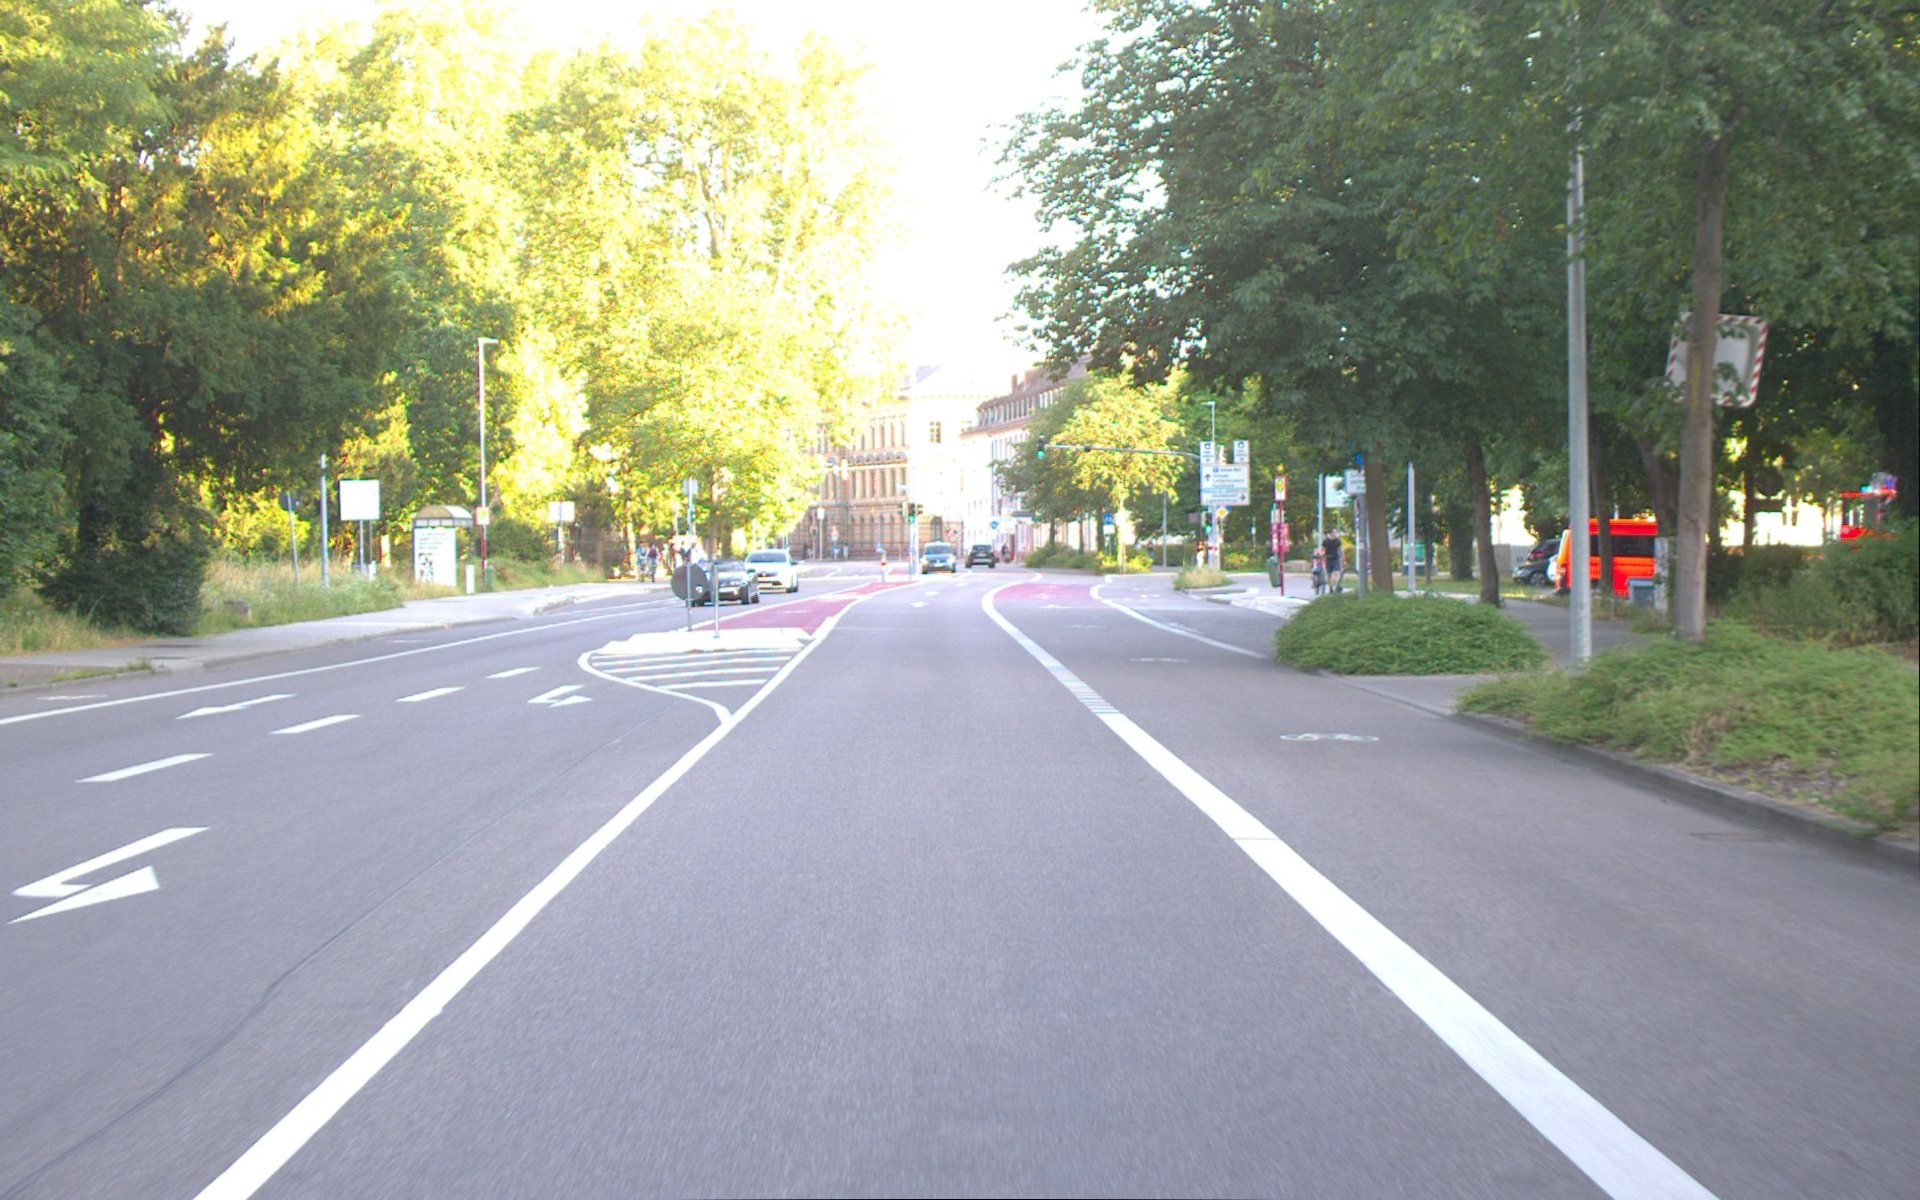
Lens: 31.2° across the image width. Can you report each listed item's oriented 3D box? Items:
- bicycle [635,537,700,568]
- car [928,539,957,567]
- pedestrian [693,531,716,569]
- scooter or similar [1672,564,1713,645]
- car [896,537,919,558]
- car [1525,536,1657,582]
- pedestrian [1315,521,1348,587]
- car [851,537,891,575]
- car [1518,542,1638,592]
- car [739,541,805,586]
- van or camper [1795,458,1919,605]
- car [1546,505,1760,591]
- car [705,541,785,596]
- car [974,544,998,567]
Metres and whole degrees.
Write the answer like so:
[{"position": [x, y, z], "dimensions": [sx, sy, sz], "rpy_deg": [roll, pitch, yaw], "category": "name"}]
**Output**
[{"position": [-11.671, -1.891, 137.242], "dimensions": [2.463, 1.191, 0.757], "rpy_deg": [0, 1, 9], "category": "bicycle"}, {"position": [-0.942, -2.521, 183.249], "dimensions": [1.493, 1.481, 3.491], "rpy_deg": [-1, 1, 0], "category": "car"}, {"position": [-10.700, -2.082, 143.935], "dimensions": [0.791, 1.575, 0.745], "rpy_deg": [1, 1, 9], "category": "pedestrian"}, {"position": [9.570, 0.054, 44.907], "dimensions": [0.310, 1.038, 0.980], "rpy_deg": [-1, 1, 0], "category": "scooter or similar"}, {"position": [-3.620, -3.638, 238.644], "dimensions": [1.493, 1.481, 3.491], "rpy_deg": [-1, 1, 0], "category": "car"}, {"position": [22.099, -1.445, 120.550], "dimensions": [4.460, 1.585, 1.715], "rpy_deg": [0, 1, 7], "category": "car"}, {"position": [9.831, -1.218, 91.022], "dimensions": [0.769, 1.734, 0.731], "rpy_deg": [-1, 1, 0], "category": "pedestrian"}, {"position": [-3.563, -1.786, 138.237], "dimensions": [1.493, 1.481, 3.491], "rpy_deg": [-1, 1, 0], "category": "car"}, {"position": [20.183, -1.082, 112.365], "dimensions": [3.774, 1.585, 1.715], "rpy_deg": [0, 1, 7], "category": "car"}, {"position": [-6.146, -1.210, 112.963], "dimensions": [1.798, 1.448, 4.127], "rpy_deg": [-1, 1, 2], "category": "car"}, {"position": [21.458, -1.570, 79.601], "dimensions": [3.439, 3.189, 8.228], "rpy_deg": [2, 1, 9], "category": "van or camper"}, {"position": [16.679, -1.253, 82.950], "dimensions": [4.912, 1.983, 1.921], "rpy_deg": [0, 1, 7], "category": "car"}, {"position": [-5.872, -0.887, 94.187], "dimensions": [1.798, 1.448, 4.127], "rpy_deg": [-1, 1, 2], "category": "car"}, {"position": [1.651, -2.863, 220.334], "dimensions": [1.493, 1.481, 3.491], "rpy_deg": [-1, 1, 0], "category": "car"}]
